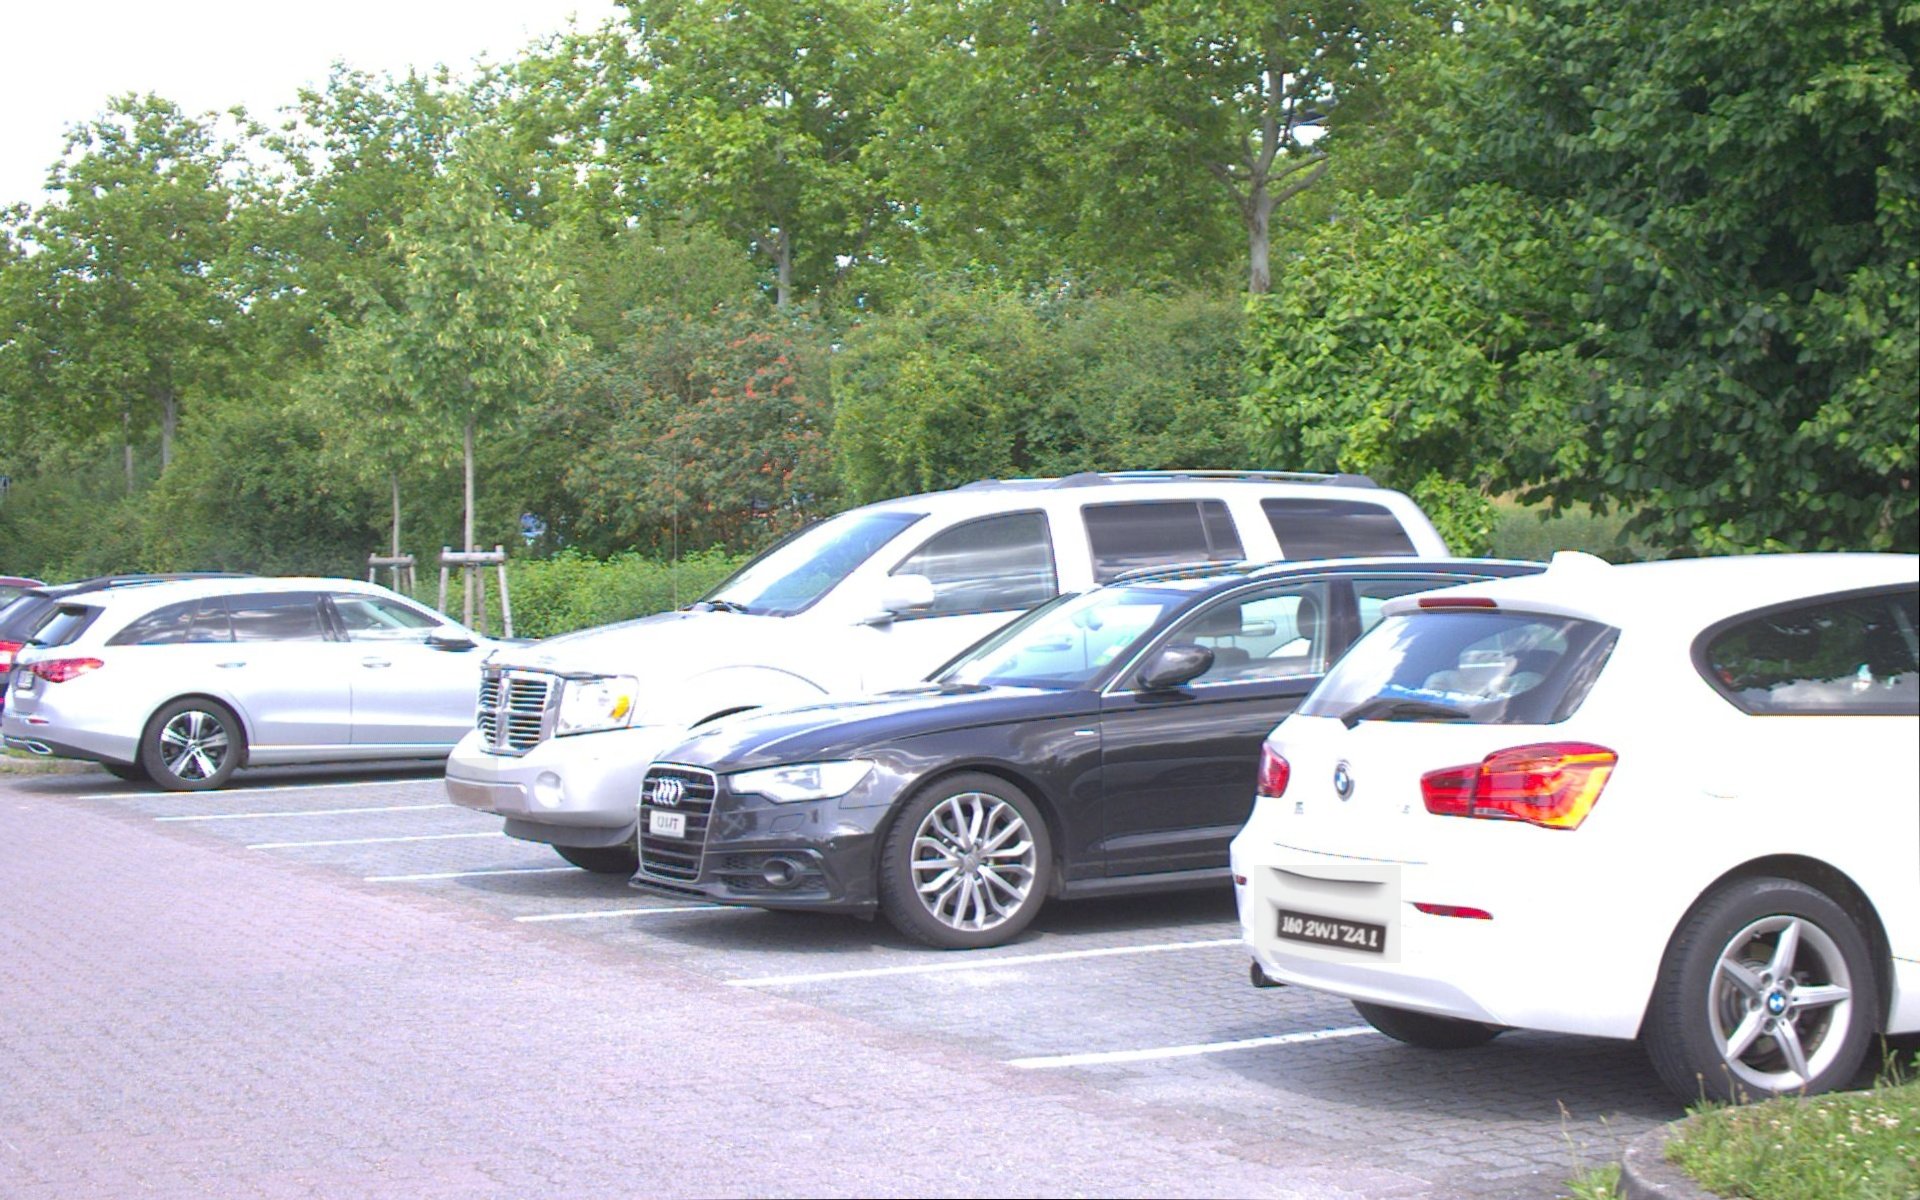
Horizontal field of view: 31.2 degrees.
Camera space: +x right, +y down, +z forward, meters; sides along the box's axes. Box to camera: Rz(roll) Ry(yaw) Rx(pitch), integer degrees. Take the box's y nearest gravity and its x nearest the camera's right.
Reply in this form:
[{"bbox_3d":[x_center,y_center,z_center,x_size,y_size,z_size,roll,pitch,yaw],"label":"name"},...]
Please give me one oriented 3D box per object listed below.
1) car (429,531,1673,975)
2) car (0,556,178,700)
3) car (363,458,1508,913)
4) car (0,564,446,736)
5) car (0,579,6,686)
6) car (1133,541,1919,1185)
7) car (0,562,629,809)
[{"bbox_3d":[0.393,0.518,14.043,4.709,1.446,1.840,-2,1,-24],"label":"car"},{"bbox_3d":[-11.552,0.349,40.159,4.306,1.590,2.000,-2,1,-27],"label":"car"},{"bbox_3d":[-0.077,0.310,16.618,5.130,1.836,1.991,-2,1,-26],"label":"car"},{"bbox_3d":[-6.601,0.421,29.473,3.986,1.376,1.699,-1,-1,-26],"label":"car"},{"bbox_3d":[-15.011,0.510,46.795,3.632,1.463,1.634,-2,0,-25],"label":"car"},{"bbox_3d":[2.723,0.587,9.835,4.067,1.504,1.691,-2,0,-23],"label":"car"},{"bbox_3d":[-4.883,0.555,24.558,4.638,1.499,1.785,-2,1,-26],"label":"car"}]
